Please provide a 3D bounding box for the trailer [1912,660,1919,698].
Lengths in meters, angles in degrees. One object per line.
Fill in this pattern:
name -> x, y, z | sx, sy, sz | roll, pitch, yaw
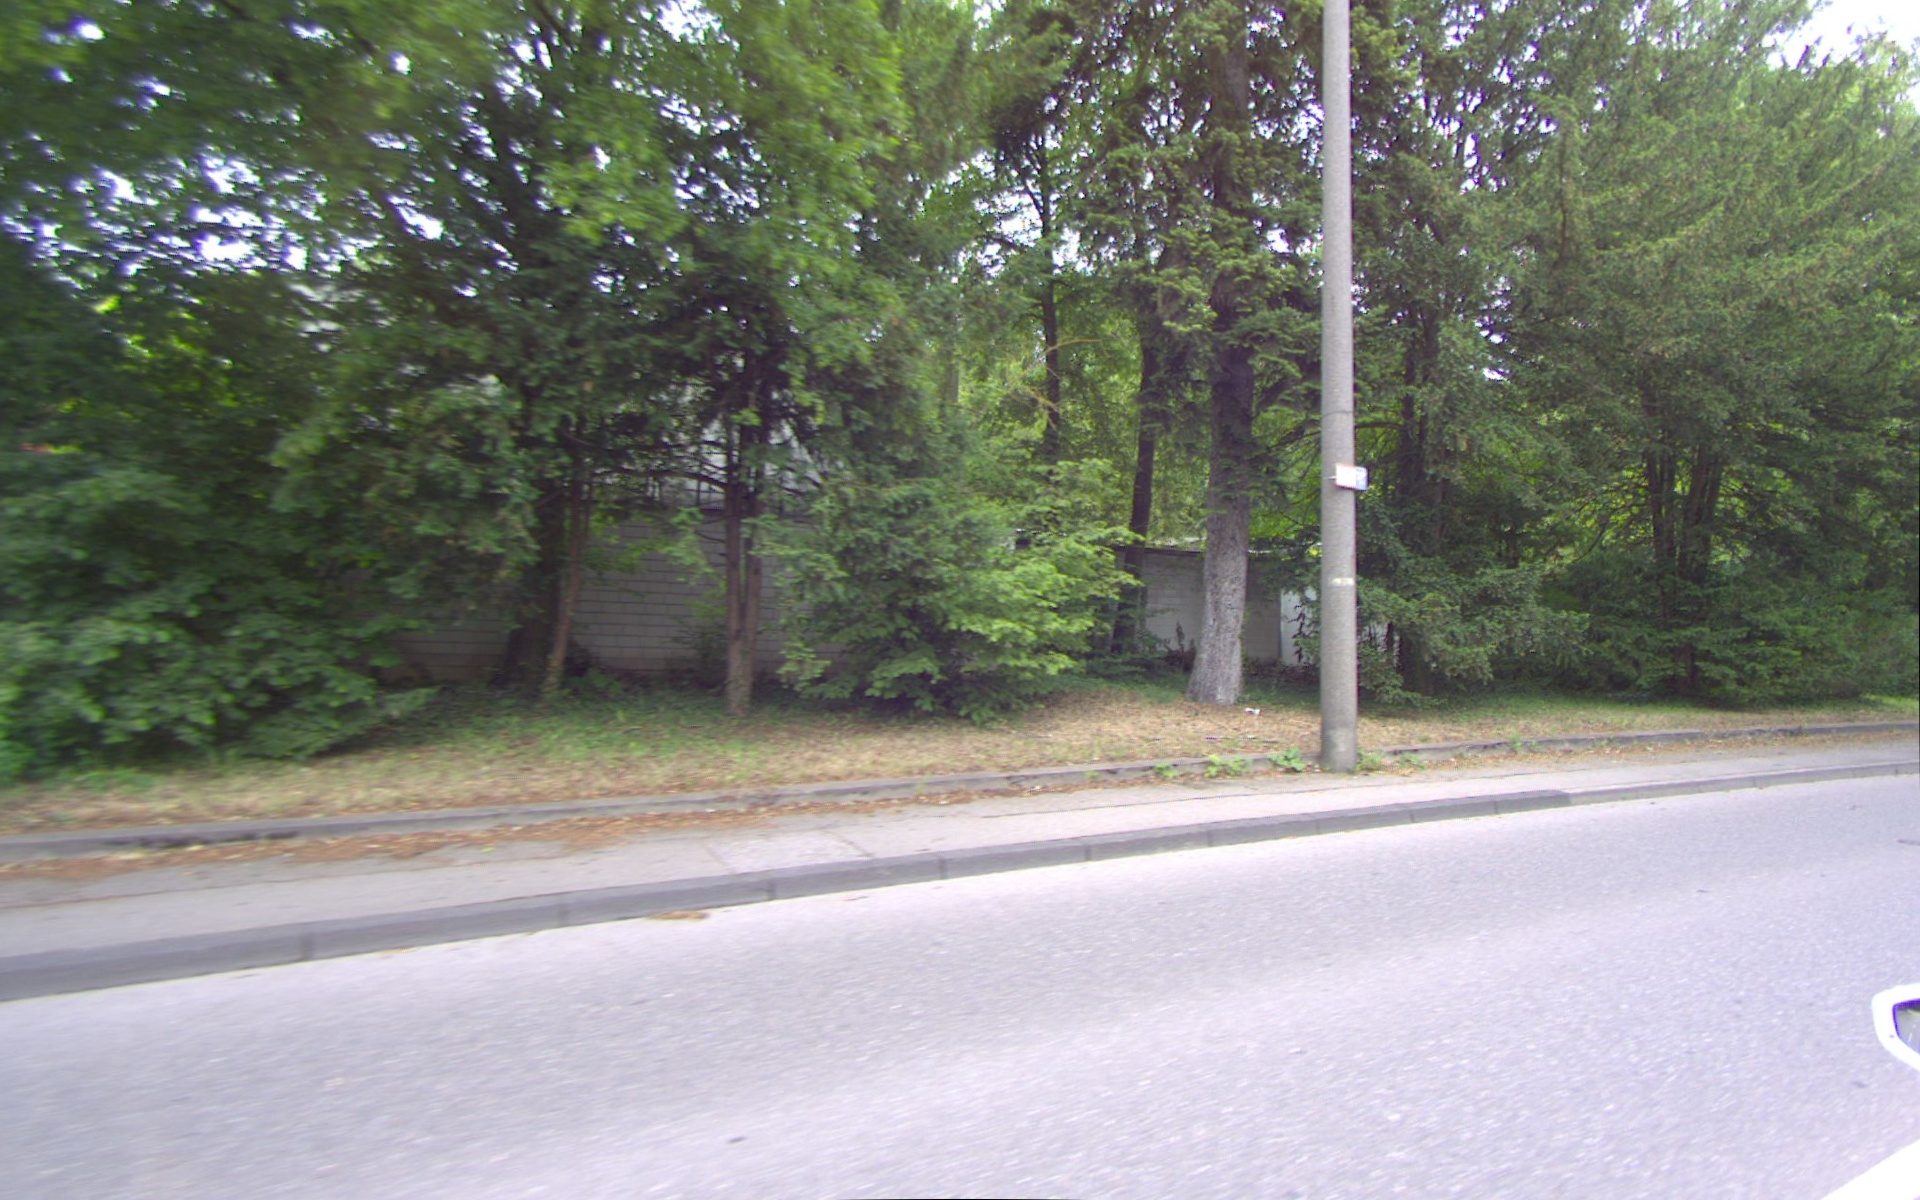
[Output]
trailer -> 22.588, 1.733, 21.544 | 1.461, 0.839, 2.936 | 2, -3, -35
